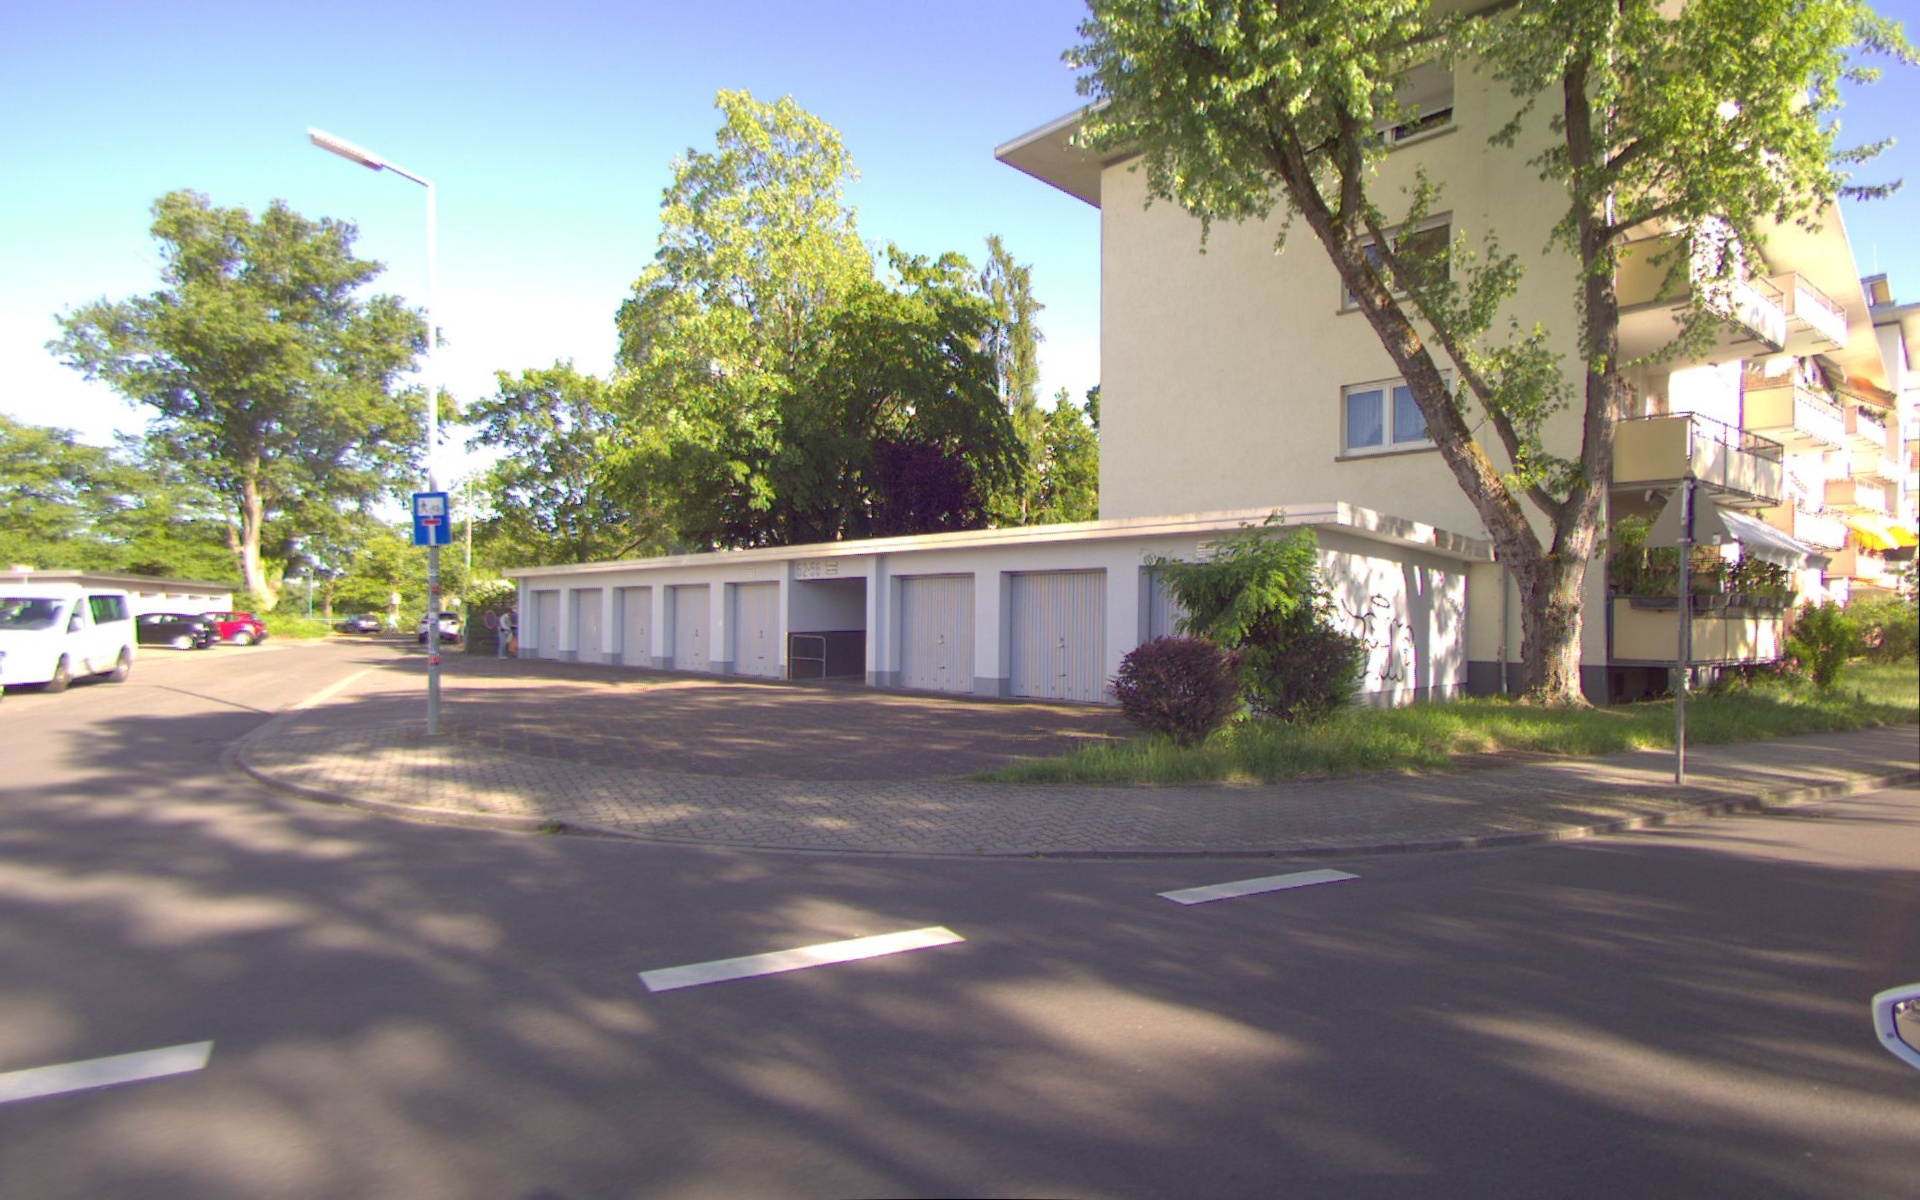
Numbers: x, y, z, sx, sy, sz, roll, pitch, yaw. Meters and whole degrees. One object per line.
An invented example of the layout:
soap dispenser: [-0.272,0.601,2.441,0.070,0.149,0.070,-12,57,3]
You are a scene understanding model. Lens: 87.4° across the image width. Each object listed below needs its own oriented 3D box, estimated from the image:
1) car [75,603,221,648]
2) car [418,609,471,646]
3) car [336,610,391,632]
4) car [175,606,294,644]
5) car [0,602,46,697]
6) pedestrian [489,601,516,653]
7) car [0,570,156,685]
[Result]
car: [-30.496,0.973,37.877,3.952,1.617,1.985,1,-1,-30]
car: [-26.983,1.430,52.676,1.825,1.901,3.984,1,-1,-19]
car: [-44.730,1.547,75.268,4.102,1.601,1.994,0,-1,34]
car: [-31.727,1.114,44.072,3.952,1.617,1.985,1,-1,-30]
car: [-15.601,0.739,14.700,2.016,1.480,4.429,1,-2,-25]
pedestrian: [-14.755,0.870,32.377,0.528,1.676,0.553,1,-1,18]
car: [-17.734,0.499,19.384,2.206,1.977,5.092,1,-1,-24]
